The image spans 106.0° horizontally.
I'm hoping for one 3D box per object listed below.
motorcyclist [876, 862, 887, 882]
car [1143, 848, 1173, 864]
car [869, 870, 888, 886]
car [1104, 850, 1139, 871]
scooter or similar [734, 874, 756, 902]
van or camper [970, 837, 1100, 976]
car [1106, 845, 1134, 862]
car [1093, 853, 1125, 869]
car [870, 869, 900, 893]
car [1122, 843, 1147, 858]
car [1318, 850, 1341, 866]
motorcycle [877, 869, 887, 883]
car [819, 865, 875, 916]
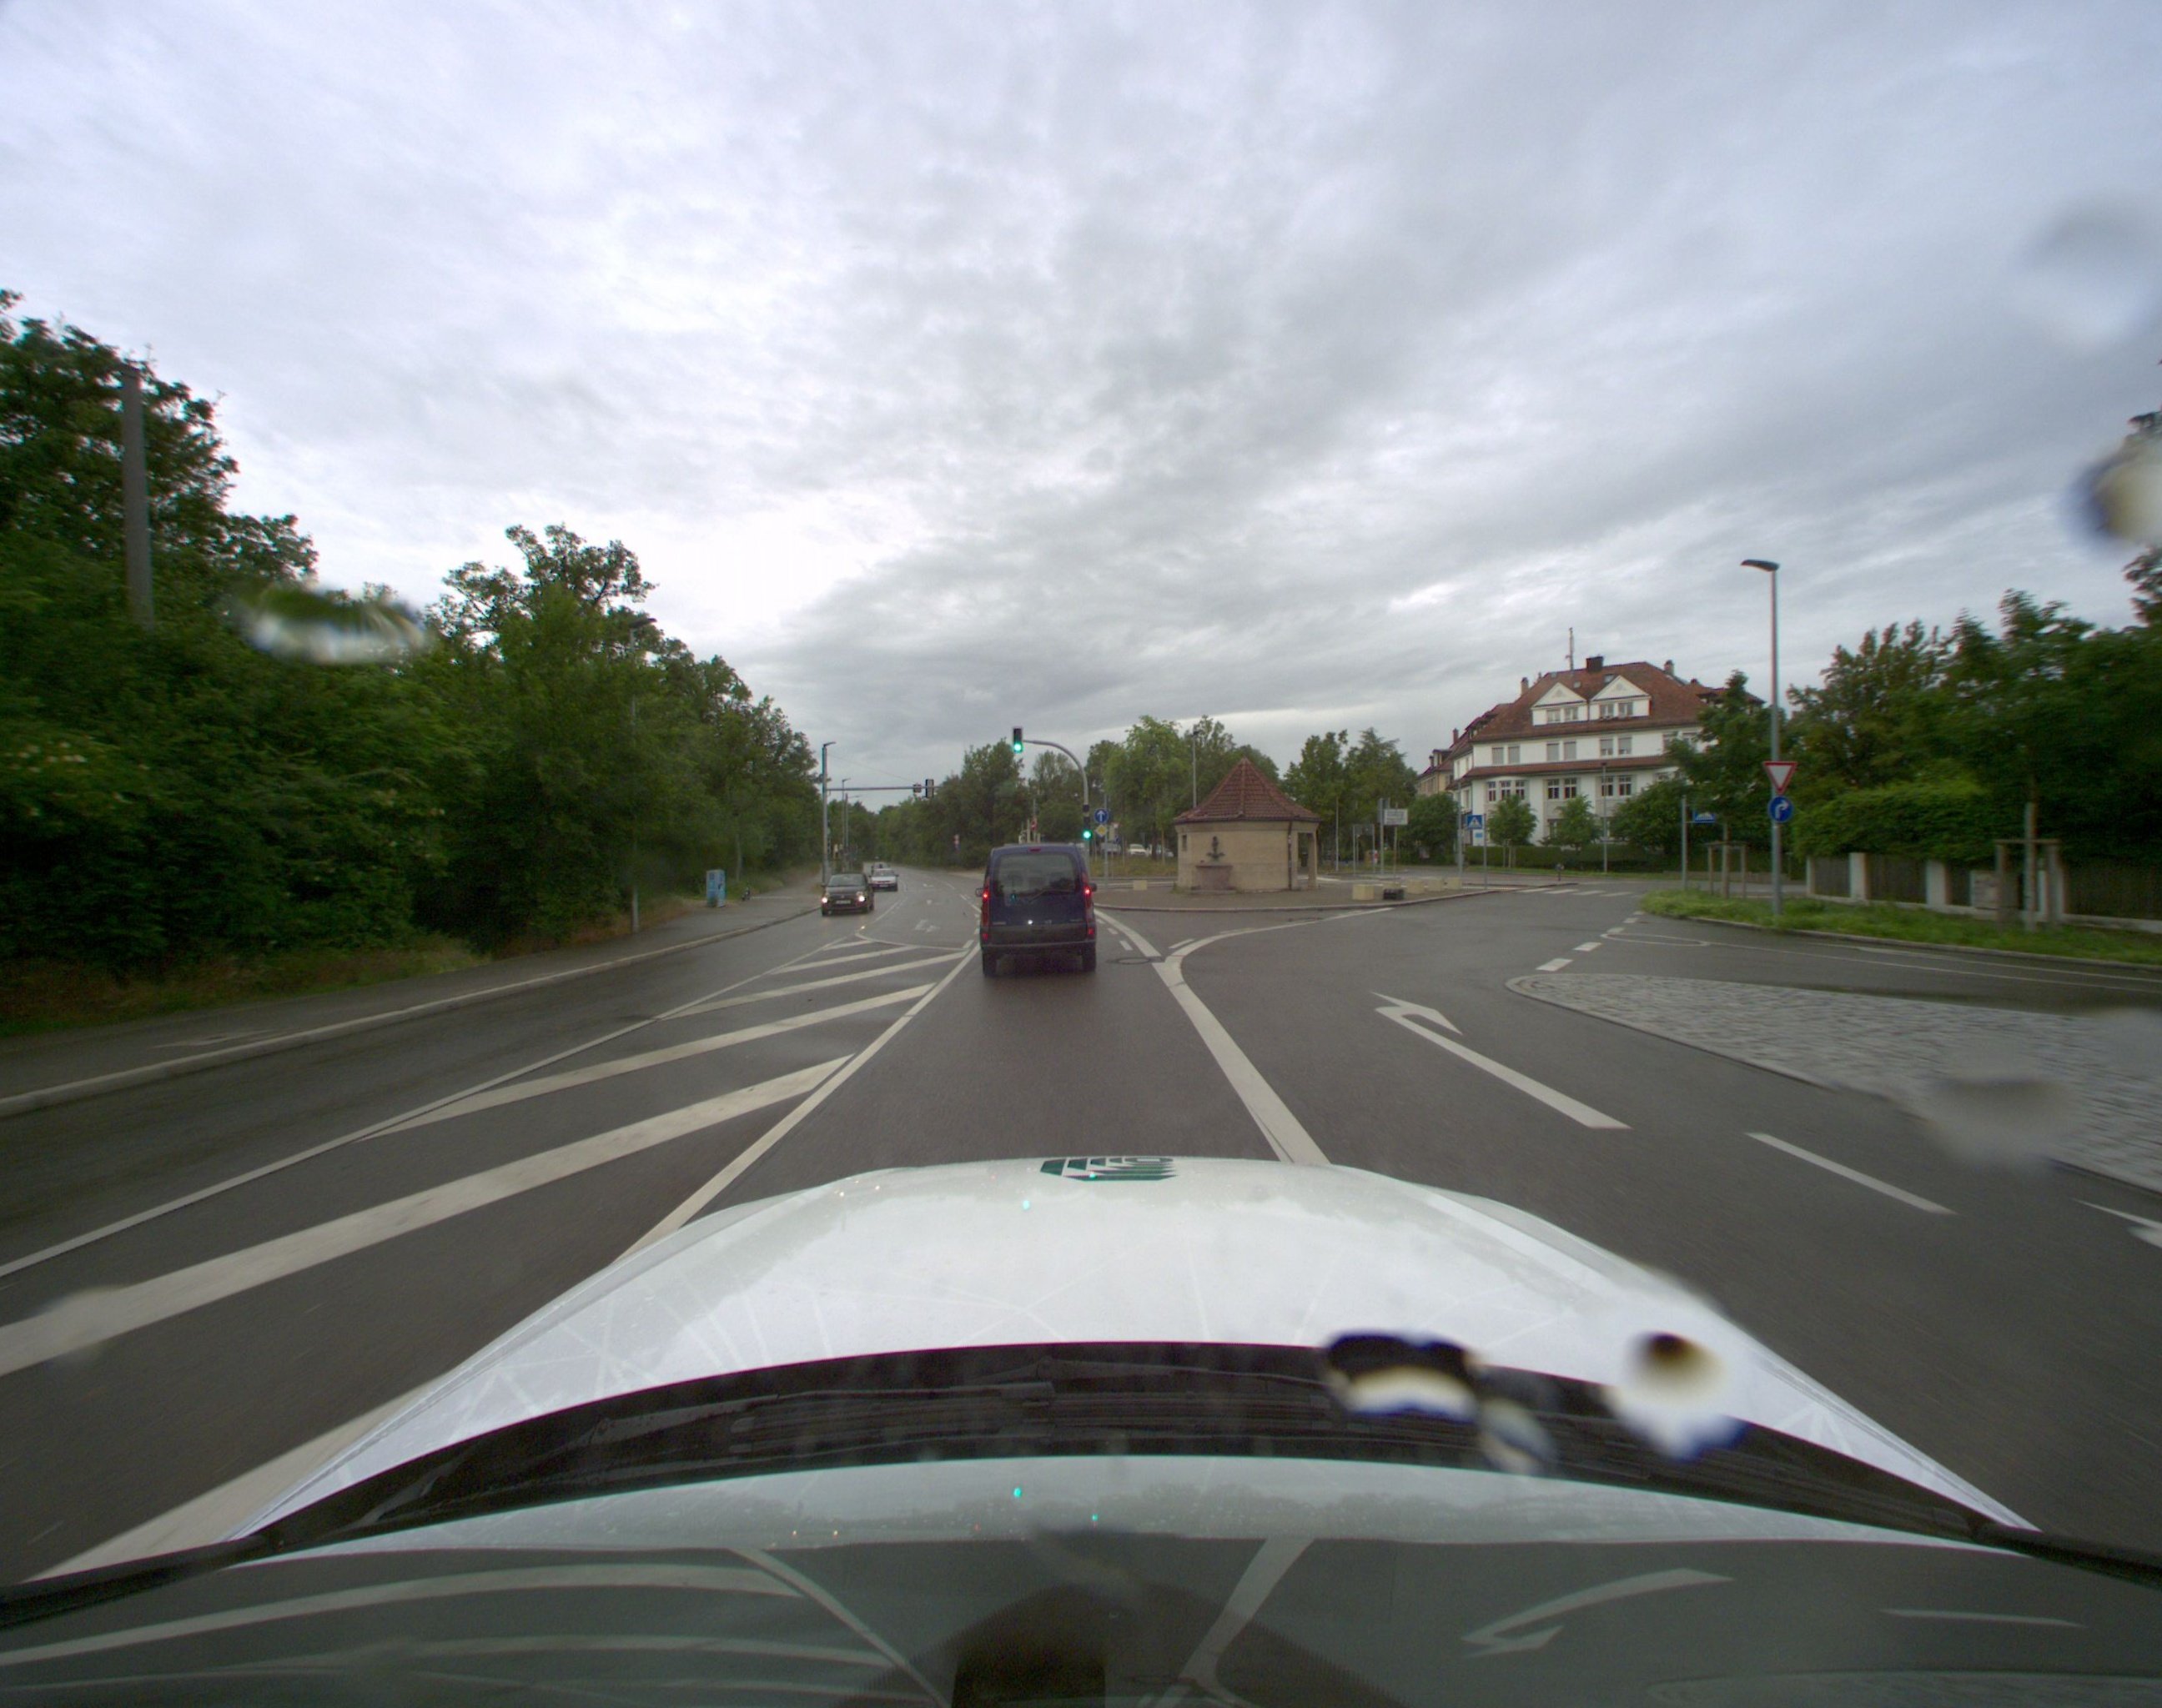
[{"bbox_3d":[-16.472,1.511,67.337,0.746,1.632,0.924,-2,0,-10],"label":"motorcyclist"},{"bbox_3d":[7.281,0.217,77.324,1.884,1.480,4.057,1,-1,-8],"label":"car"},{"bbox_3d":[-21.459,2.521,86.302,1.791,1.581,4.542,-2,0,-12],"label":"car"},{"bbox_3d":[3.438,0.542,70.259,1.996,1.662,3.982,2,-1,-13],"label":"car"},{"bbox_3d":[-15.140,1.510,36.700,0.516,1.212,1.466,-1,-1,-6],"label":"scooter or similar"},{"bbox_3d":[-0.761,0.713,12.787,1.709,1.826,3.993,0,-1,-5],"label":"van or camper"},{"bbox_3d":[4.043,-0.003,84.446,1.993,1.662,4.458,2,0,-9],"label":"car"},{"bbox_3d":[2.564,0.674,75.976,1.995,1.480,4.265,1,-1,-12],"label":"car"},{"bbox_3d":[-12.502,1.705,52.042,1.743,1.352,4.189,-2,0,-14],"label":"car"},{"bbox_3d":[5.762,-0.338,87.850,1.884,1.480,4.057,1,-2,-8],"label":"car"},{"bbox_3d":[31.586,0.538,103.548,1.984,2.014,4.004,-1,-1,4],"label":"car"},{"bbox_3d":[-16.475,1.815,67.358,0.594,1.051,1.992,-2,0,-9],"label":"motorcycle"},{"bbox_3d":[-8.608,1.295,30.209,1.577,1.731,3.760,-2,0,-11],"label":"car"}]
